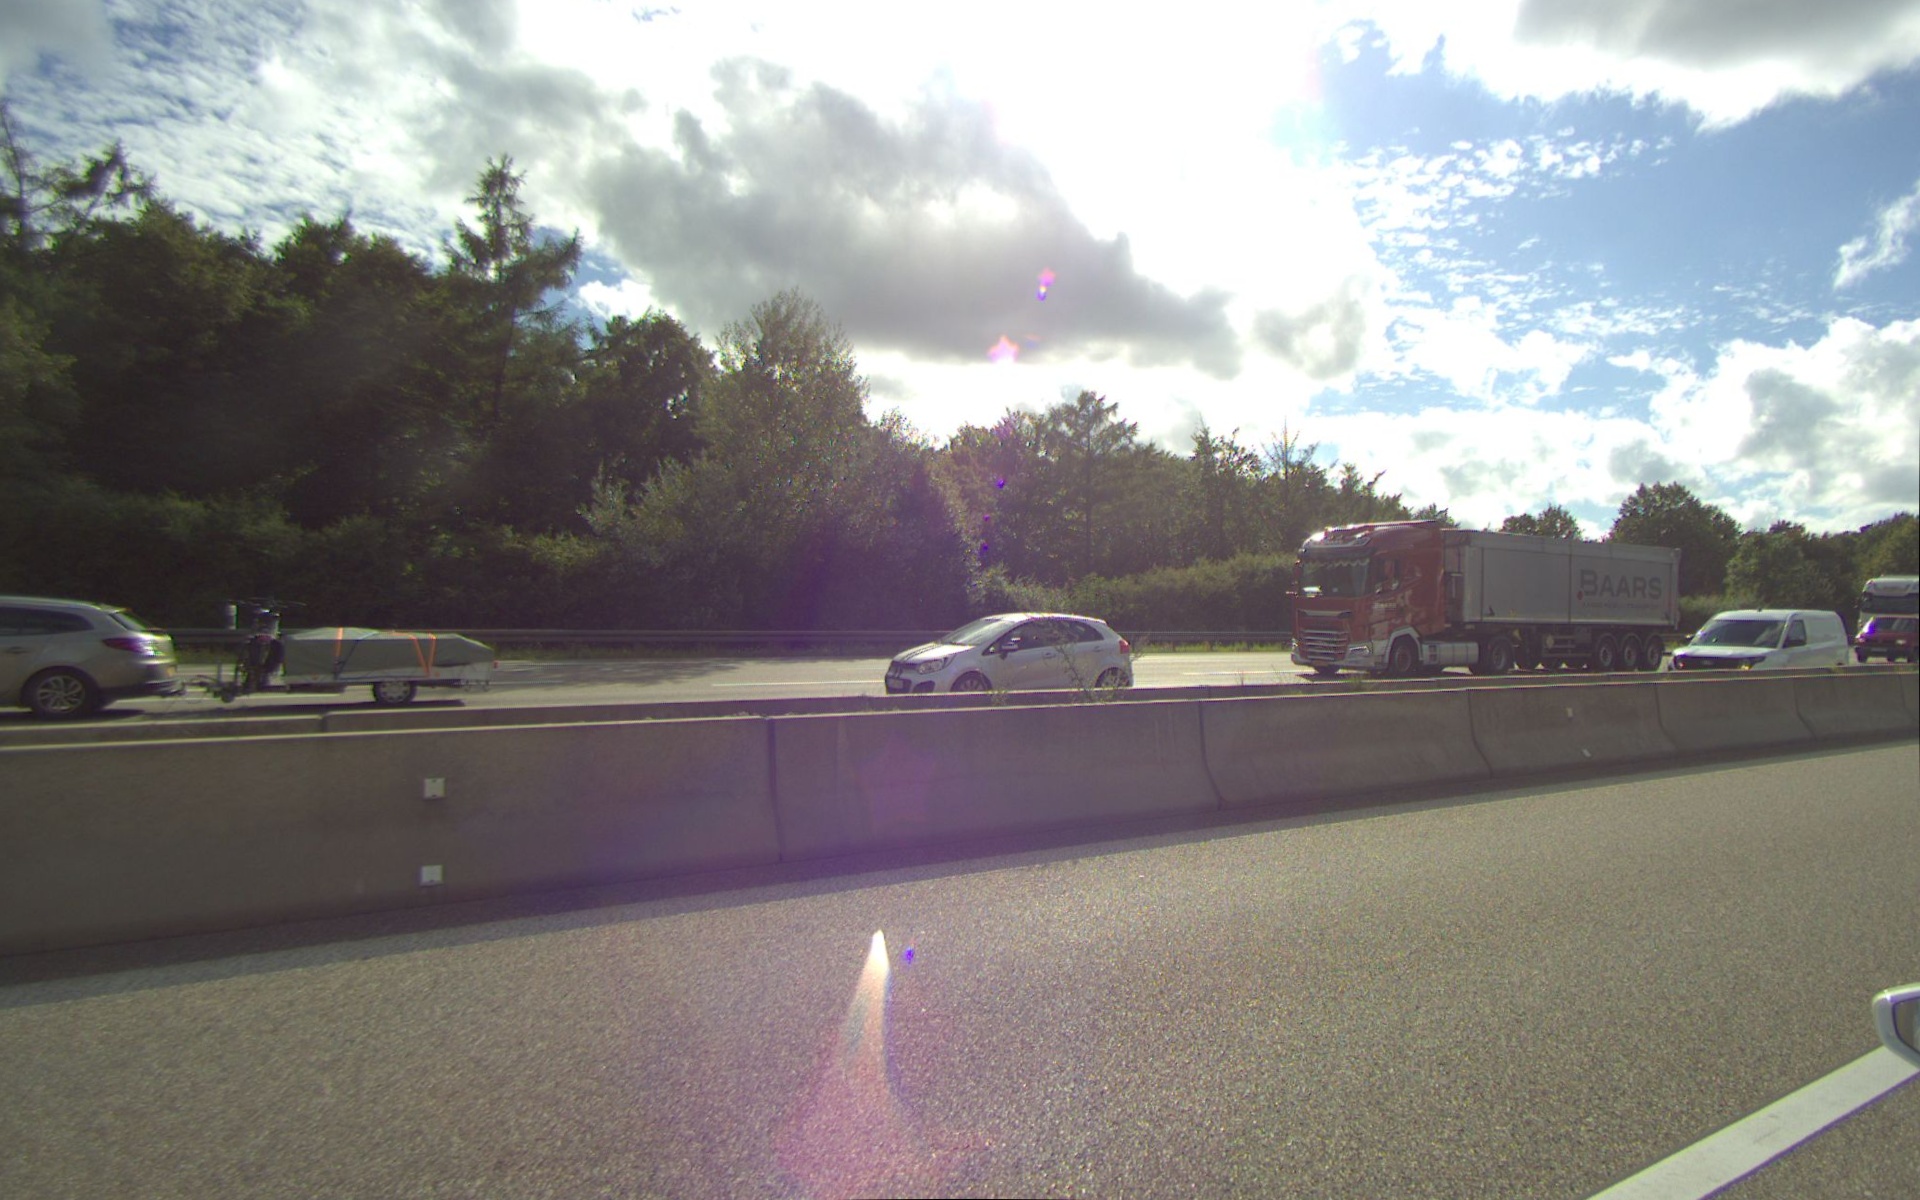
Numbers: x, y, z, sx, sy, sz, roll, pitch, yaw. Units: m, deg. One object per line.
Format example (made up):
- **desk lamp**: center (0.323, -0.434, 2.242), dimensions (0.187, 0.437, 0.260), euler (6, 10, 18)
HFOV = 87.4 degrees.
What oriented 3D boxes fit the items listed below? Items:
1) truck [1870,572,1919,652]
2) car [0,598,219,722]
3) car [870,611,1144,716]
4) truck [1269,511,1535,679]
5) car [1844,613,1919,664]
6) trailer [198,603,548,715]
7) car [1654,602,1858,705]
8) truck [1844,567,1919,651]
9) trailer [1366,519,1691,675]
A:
- **truck**: center (55.467, 0.740, 56.045), dimensions (13.678, 4.149, 2.806), euler (1, 0, -30)
- **car**: center (-12.048, 0.689, 12.247), dimensions (4.619, 1.433, 1.819), euler (1, 0, -30)
- **car**: center (0.762, 0.913, 15.357), dimensions (3.952, 1.421, 1.596), euler (1, 0, -30)
- **truck**: center (11.591, -0.050, 26.252), dimensions (6.683, 3.909, 2.954), euler (1, 0, -30)
- **car**: center (38.680, 1.568, 41.458), dimensions (4.974, 1.966, 1.838), euler (1, 0, -30)
- **trailer**: center (-8.255, 0.787, 14.459), dimensions (4.131, 1.421, 1.527), euler (1, 0, -31)
- **car**: center (16.267, 1.047, 20.471), dimensions (4.564, 1.903, 1.839), euler (1, -2, -32)
- **truck**: center (49.193, 0.525, 52.420), dimensions (5.989, 4.149, 2.807), euler (1, 0, -29)
- **trailer**: center (16.781, 0.047, 29.234), dimensions (11.146, 3.909, 2.953), euler (1, 0, -30)
